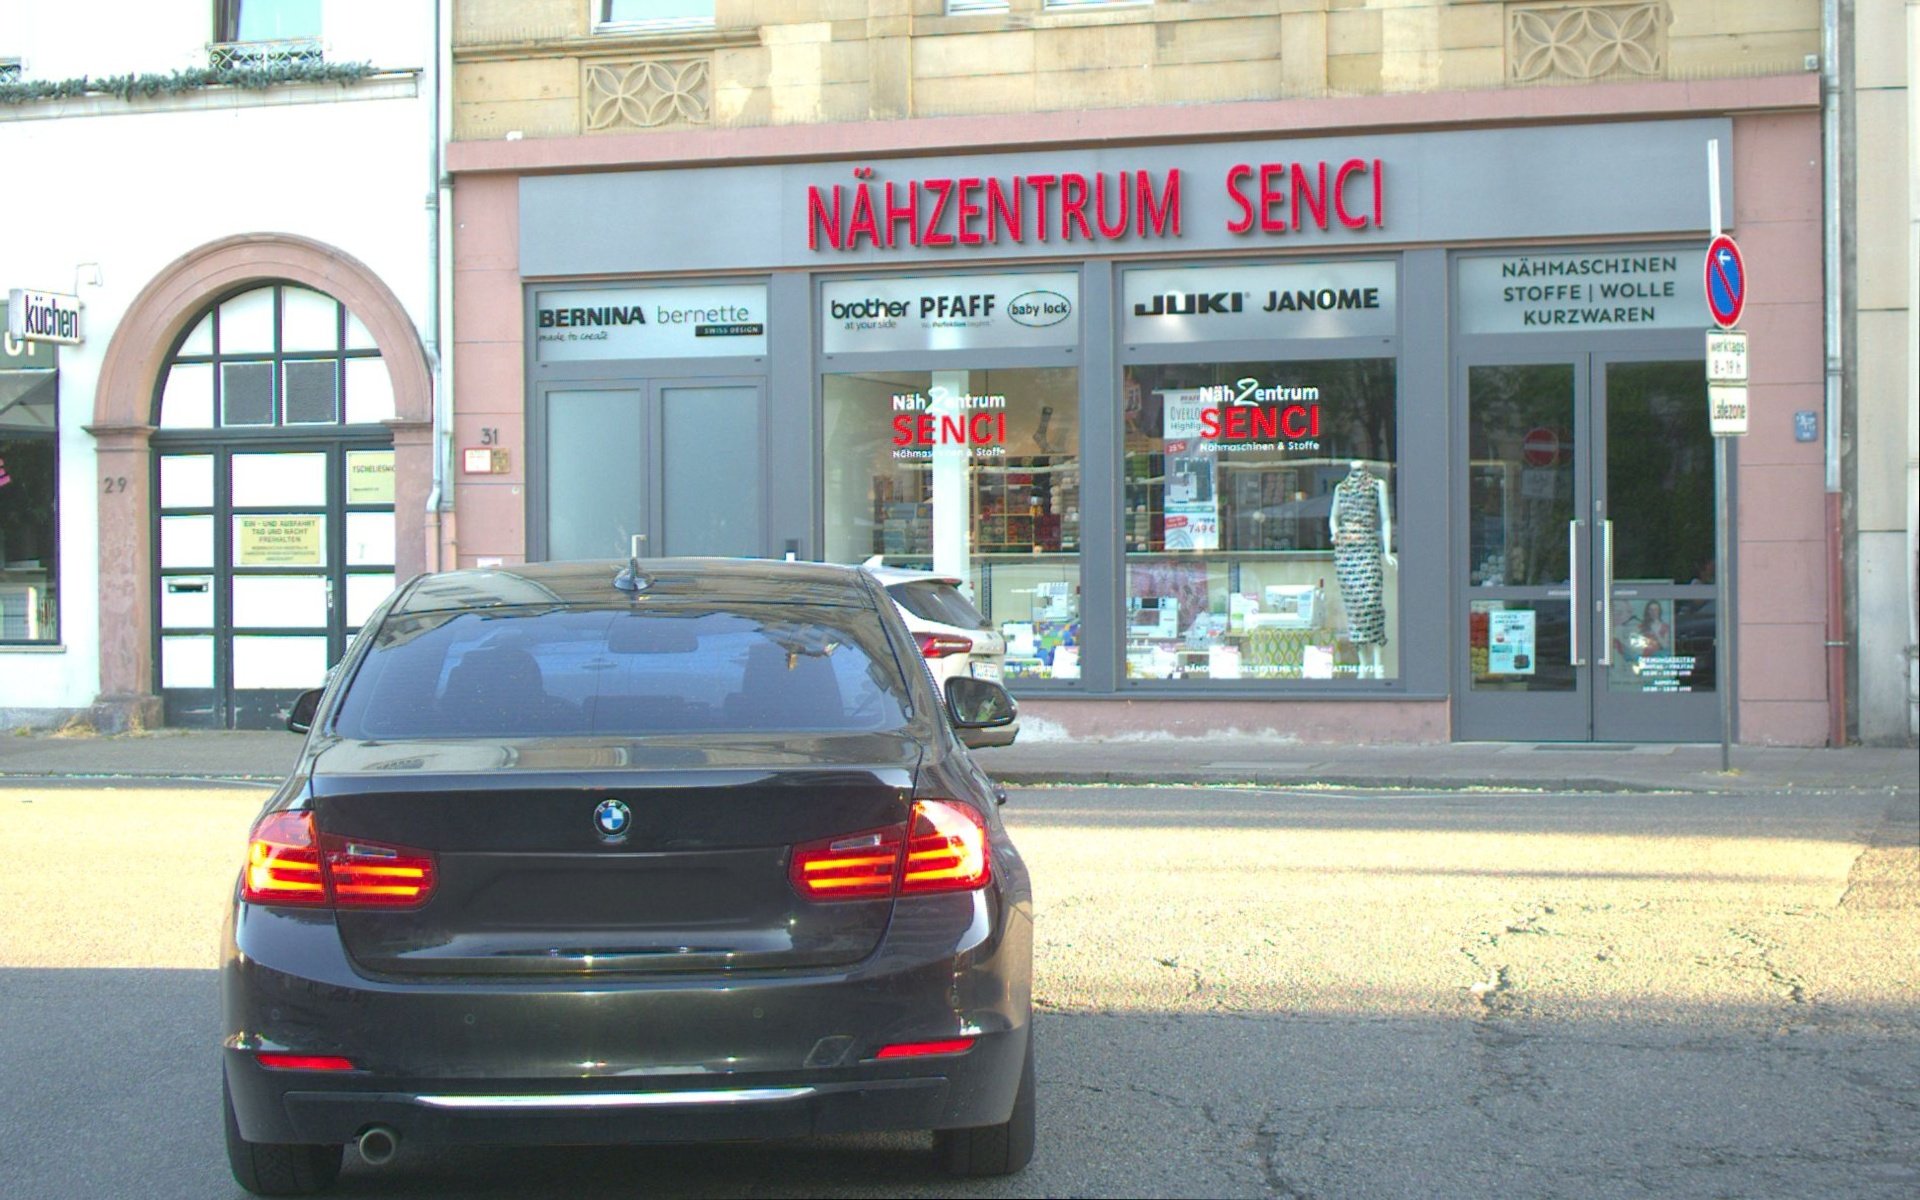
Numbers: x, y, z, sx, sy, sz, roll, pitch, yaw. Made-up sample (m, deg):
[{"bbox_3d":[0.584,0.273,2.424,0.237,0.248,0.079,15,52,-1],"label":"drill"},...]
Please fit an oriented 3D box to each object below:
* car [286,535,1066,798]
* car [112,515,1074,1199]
[{"bbox_3d":[-1.833,0.383,22.520,4.670,1.530,1.998,1,1,18],"label":"car"},{"bbox_3d":[-0.657,0.584,8.829,1.888,1.487,4.204,0,0,2],"label":"car"}]
